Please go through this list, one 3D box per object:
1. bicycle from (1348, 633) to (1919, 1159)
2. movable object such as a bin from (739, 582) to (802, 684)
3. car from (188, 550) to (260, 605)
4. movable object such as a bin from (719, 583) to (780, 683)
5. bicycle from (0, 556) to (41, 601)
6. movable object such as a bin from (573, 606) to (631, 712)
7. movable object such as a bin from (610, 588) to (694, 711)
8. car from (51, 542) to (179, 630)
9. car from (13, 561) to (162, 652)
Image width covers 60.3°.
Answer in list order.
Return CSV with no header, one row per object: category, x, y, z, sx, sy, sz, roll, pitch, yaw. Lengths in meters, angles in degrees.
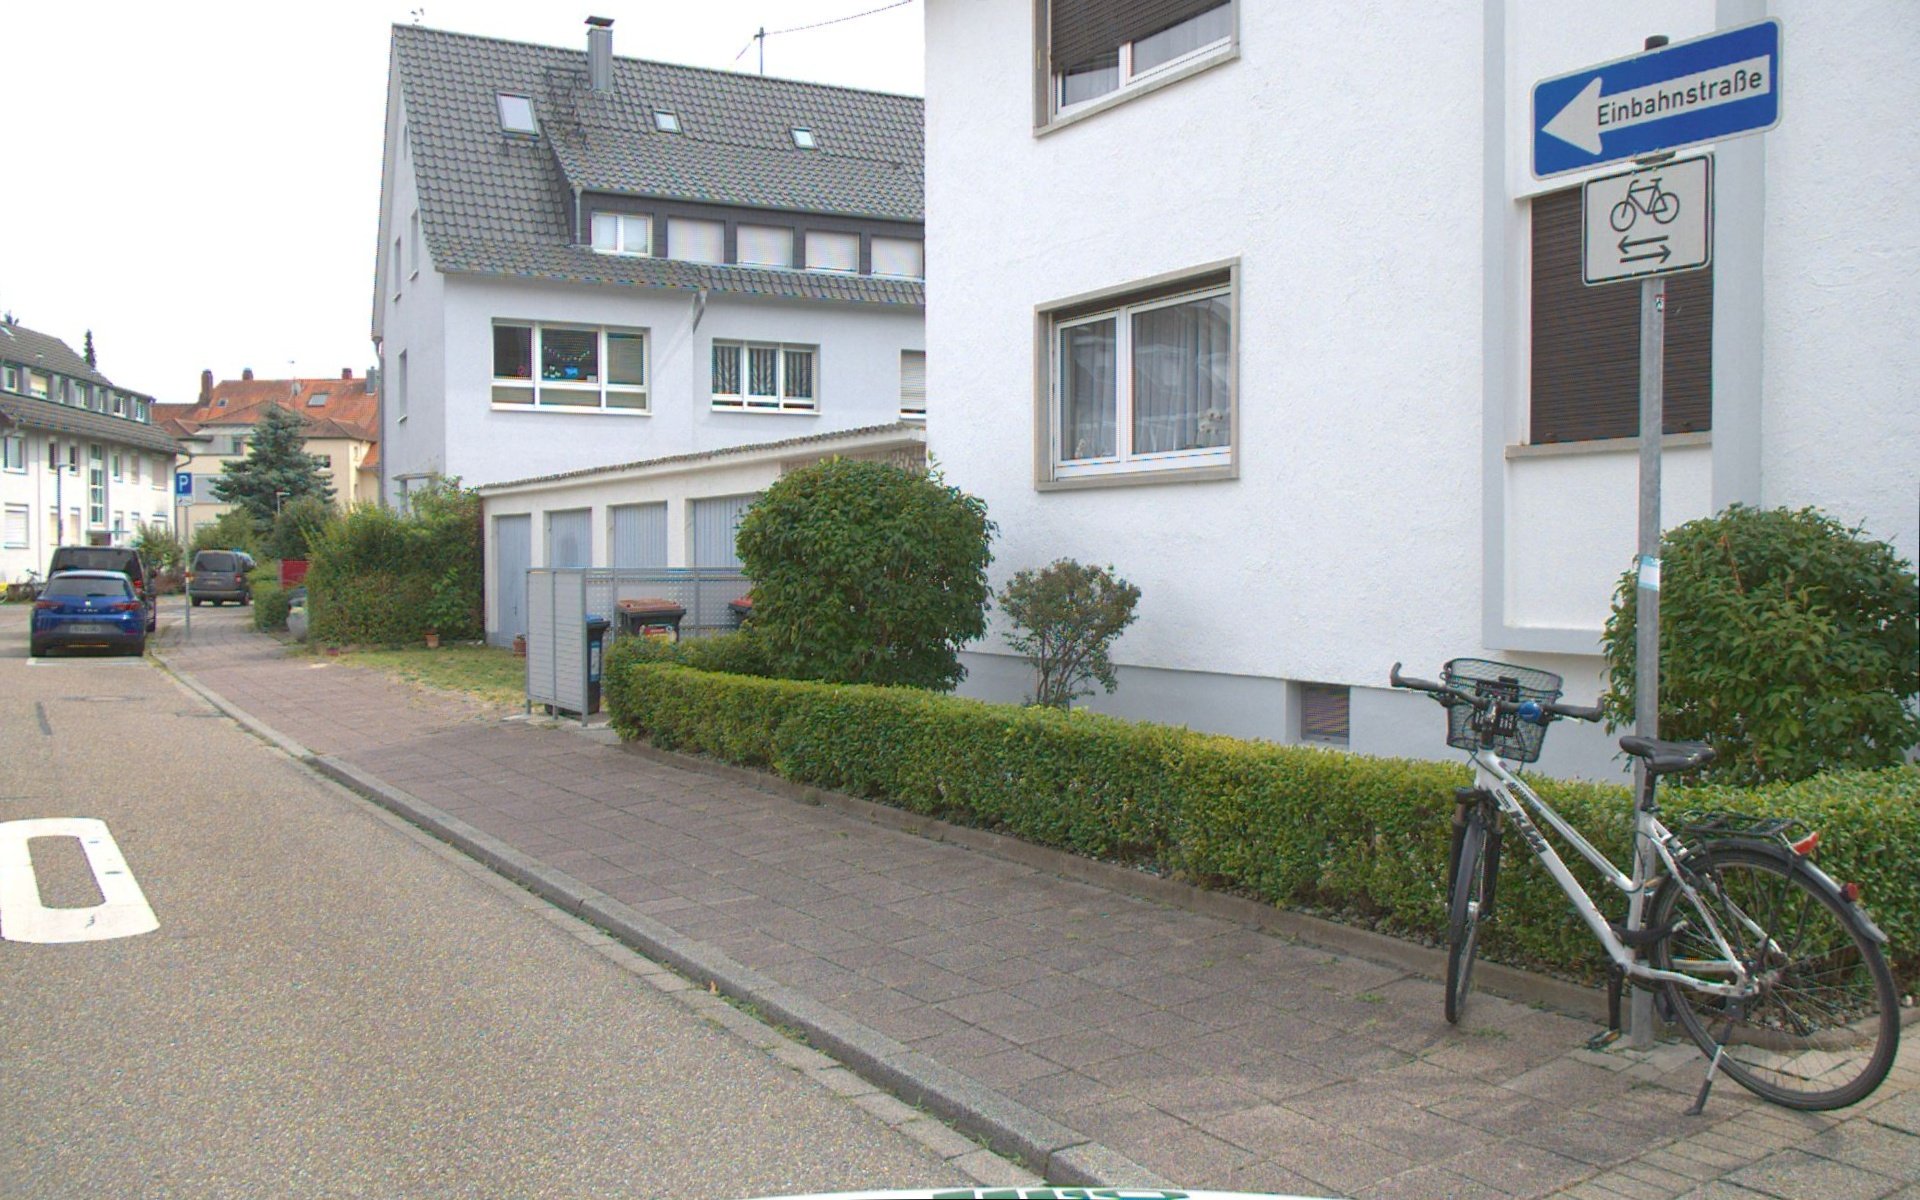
bicycle,1.860,0.702,4.631,0.430,1.200,1.619,-1,0,-35
movable object such as a bin,-1.887,0.321,16.416,0.449,0.990,0.502,-1,0,-30
car,-24.995,-0.739,56.318,1.826,1.773,4.322,-1,0,-19
movable object such as a bin,-2.148,0.330,16.871,0.449,0.990,0.502,-1,0,-30
bicycle,-32.460,-0.726,55.896,0.705,1.486,2.343,-1,0,37
movable object such as a bin,-3.436,0.559,15.858,0.385,0.990,0.510,-1,0,-31
movable object such as a bin,-3.008,0.472,16.144,0.574,1.157,0.747,-1,0,-31
car,-18.177,-0.278,35.751,1.826,1.773,4.322,-1,0,-19
car,-15.339,0.117,29.277,1.696,1.477,3.978,-1,0,-19
